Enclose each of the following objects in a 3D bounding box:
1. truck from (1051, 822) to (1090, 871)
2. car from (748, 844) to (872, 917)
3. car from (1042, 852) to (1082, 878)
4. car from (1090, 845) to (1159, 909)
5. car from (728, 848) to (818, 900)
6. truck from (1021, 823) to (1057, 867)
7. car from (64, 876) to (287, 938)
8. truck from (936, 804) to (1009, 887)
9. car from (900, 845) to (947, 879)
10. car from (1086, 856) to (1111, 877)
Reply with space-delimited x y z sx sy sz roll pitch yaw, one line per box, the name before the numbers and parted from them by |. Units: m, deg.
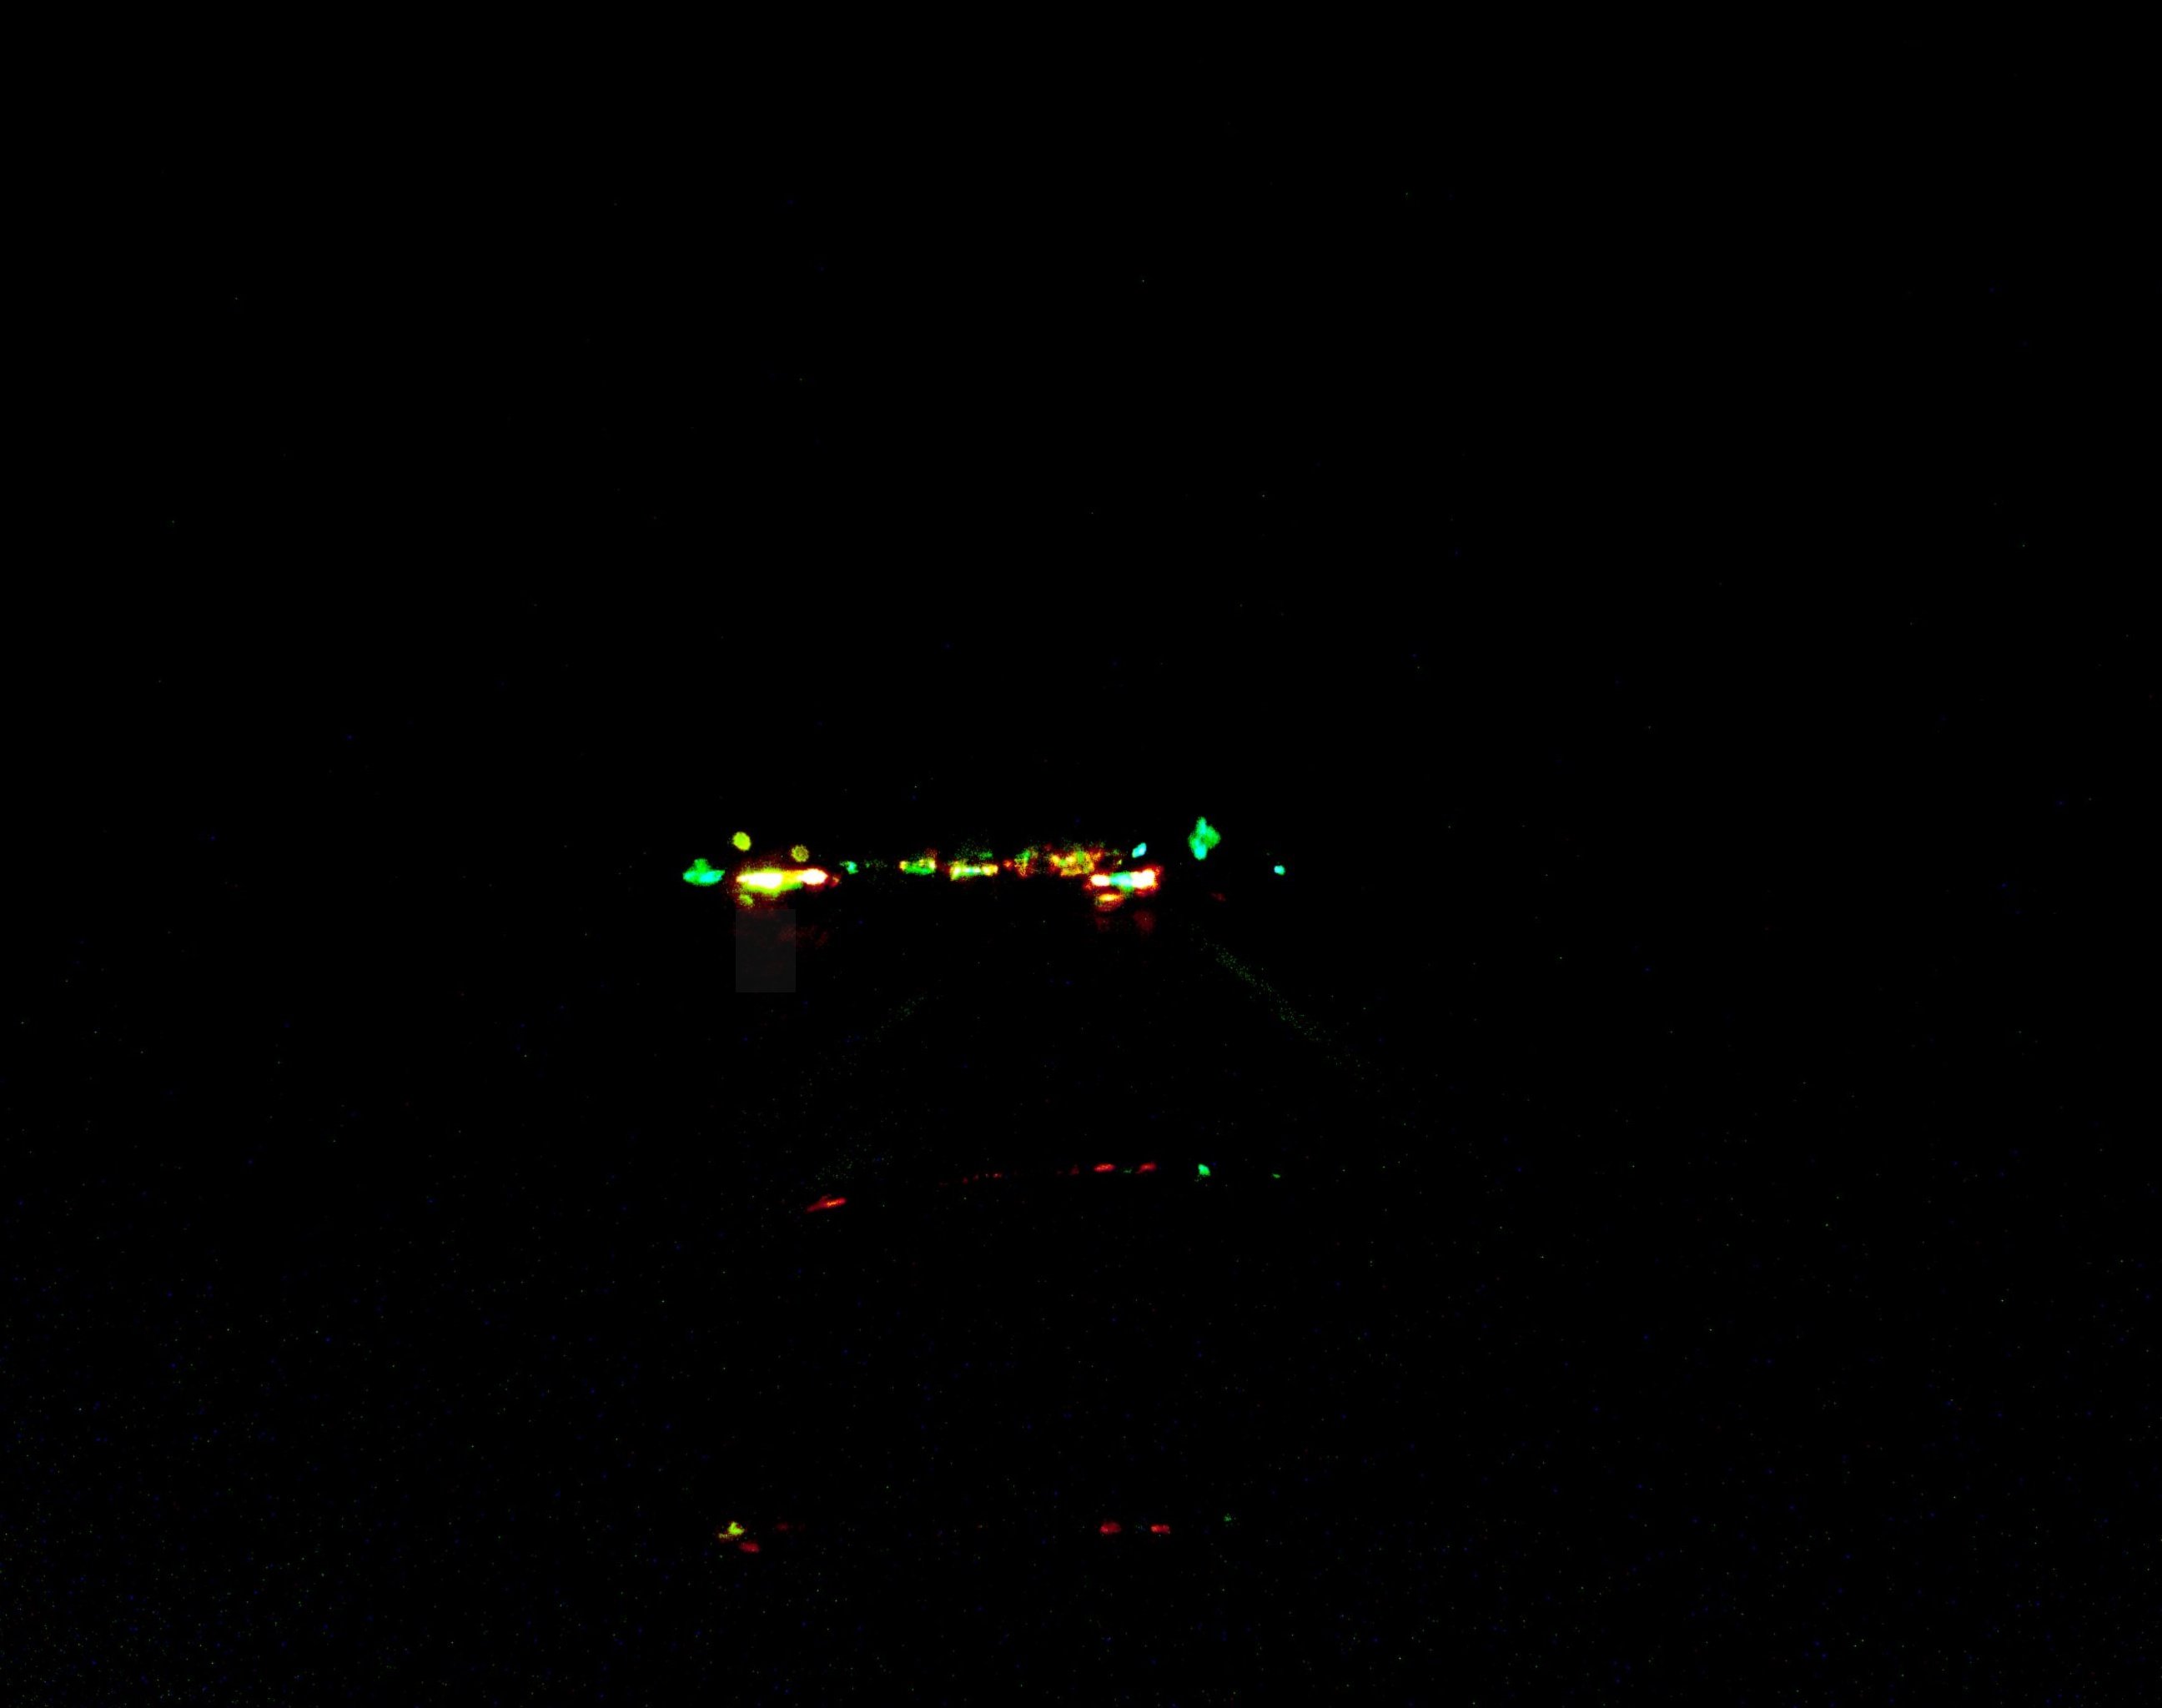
truck | -1.198 -0.813 92.083 4.149 5.215 9.951 0 0 -1
car | -7.187 0.647 22.096 2.034 1.761 4.511 0 0 -3
car | -1.479 0.848 66.034 2.821 2.013 5.514 0 0 3
car | 1.298 0.634 24.292 1.870 1.762 4.003 0 0 3
car | -10.983 0.659 29.337 1.760 1.689 3.999 -1 1 -1
truck | -5.362 -1.074 106.254 4.242 5.444 10.878 0 0 -1
car | -27.442 1.536 24.958 1.830 1.599 4.414 0 0 1
truck | -6.656 -0.467 51.691 3.647 4.737 9.845 0 0 -2
car | -10.463 0.490 54.410 2.117 2.104 5.626 -1 0 -1
car | 1.476 1.010 66.885 1.986 1.704 4.461 0 0 2
